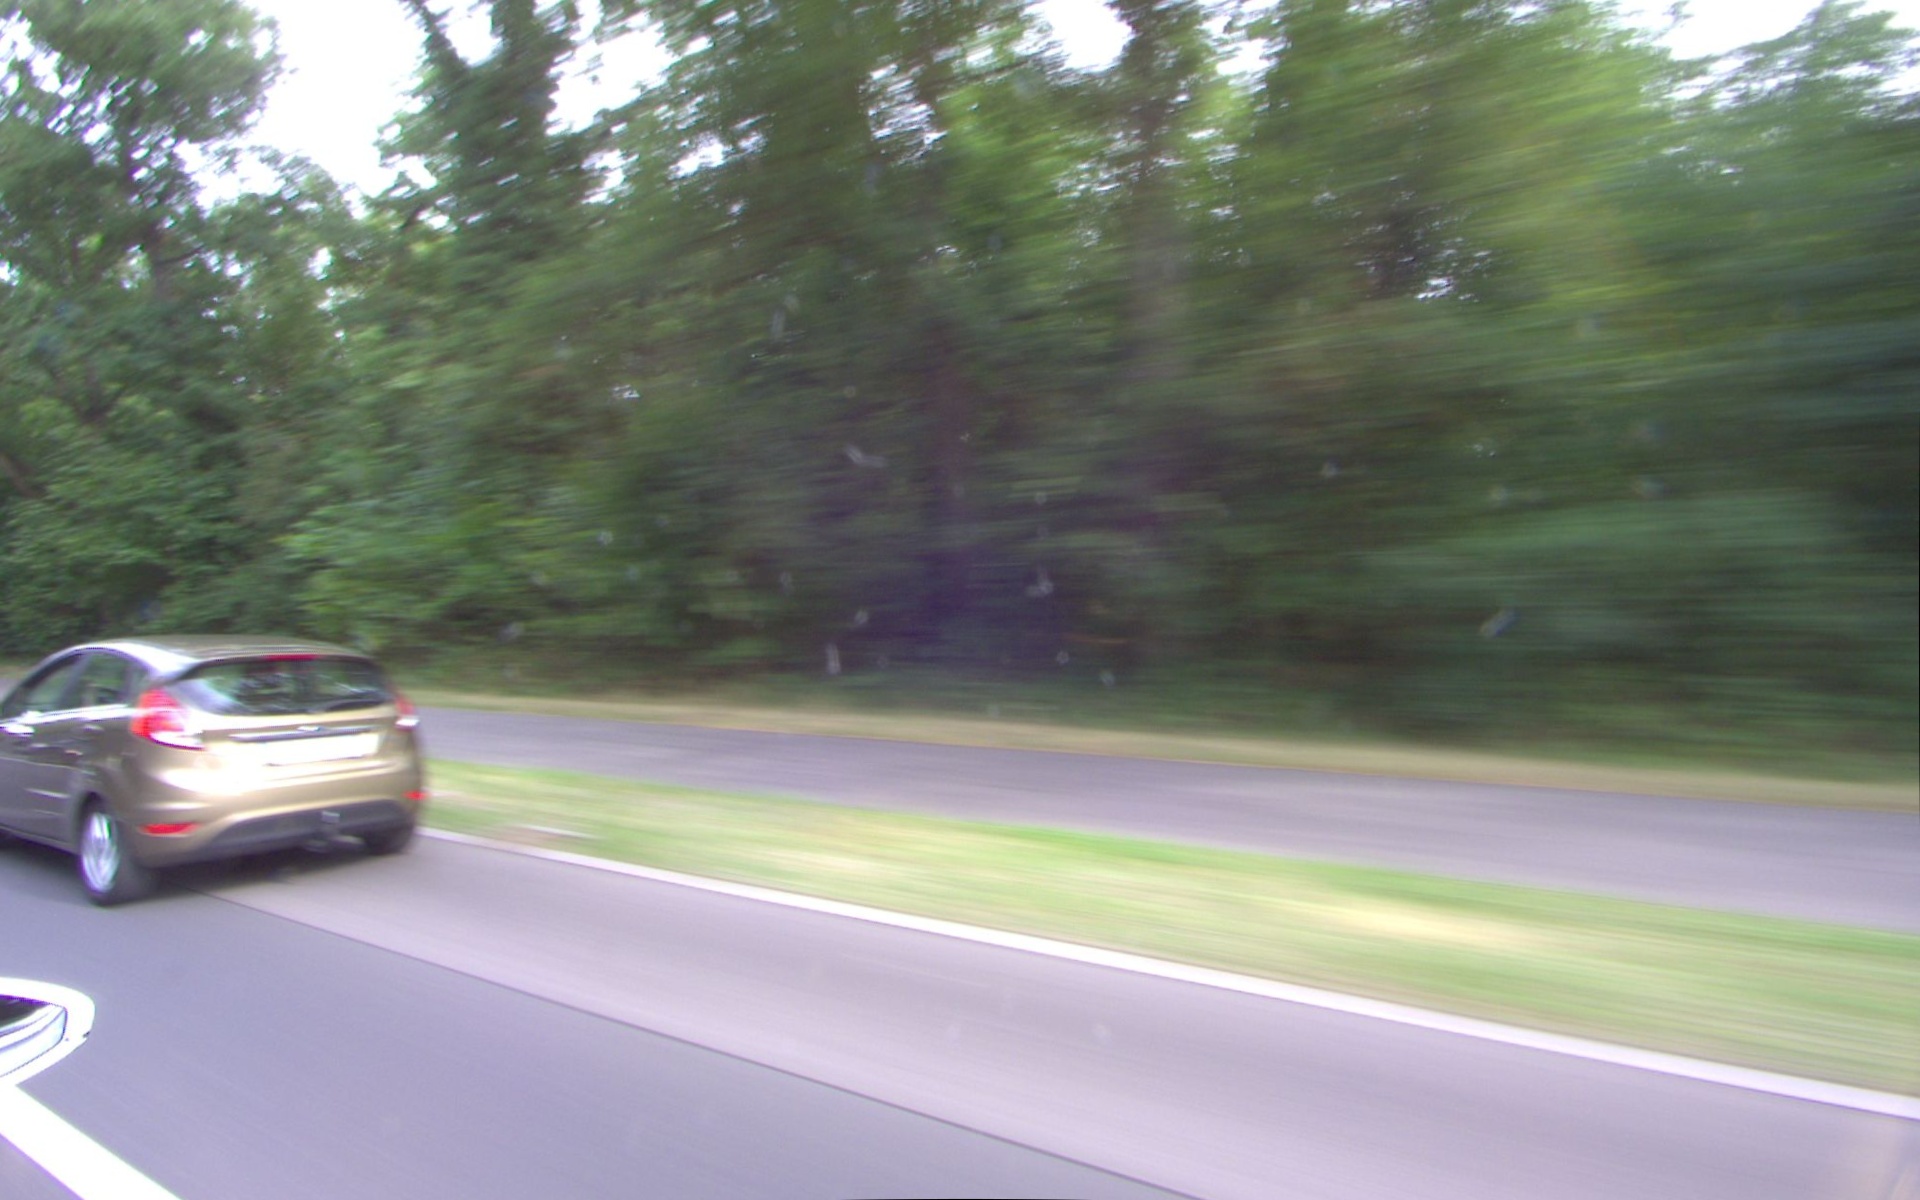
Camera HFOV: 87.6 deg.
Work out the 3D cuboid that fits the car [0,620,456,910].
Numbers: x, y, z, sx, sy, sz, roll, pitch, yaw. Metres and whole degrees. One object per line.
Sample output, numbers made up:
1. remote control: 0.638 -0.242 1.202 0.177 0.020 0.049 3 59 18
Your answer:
1. car: -5.312 0.914 6.742 3.943 1.438 1.633 -2 -3 32
